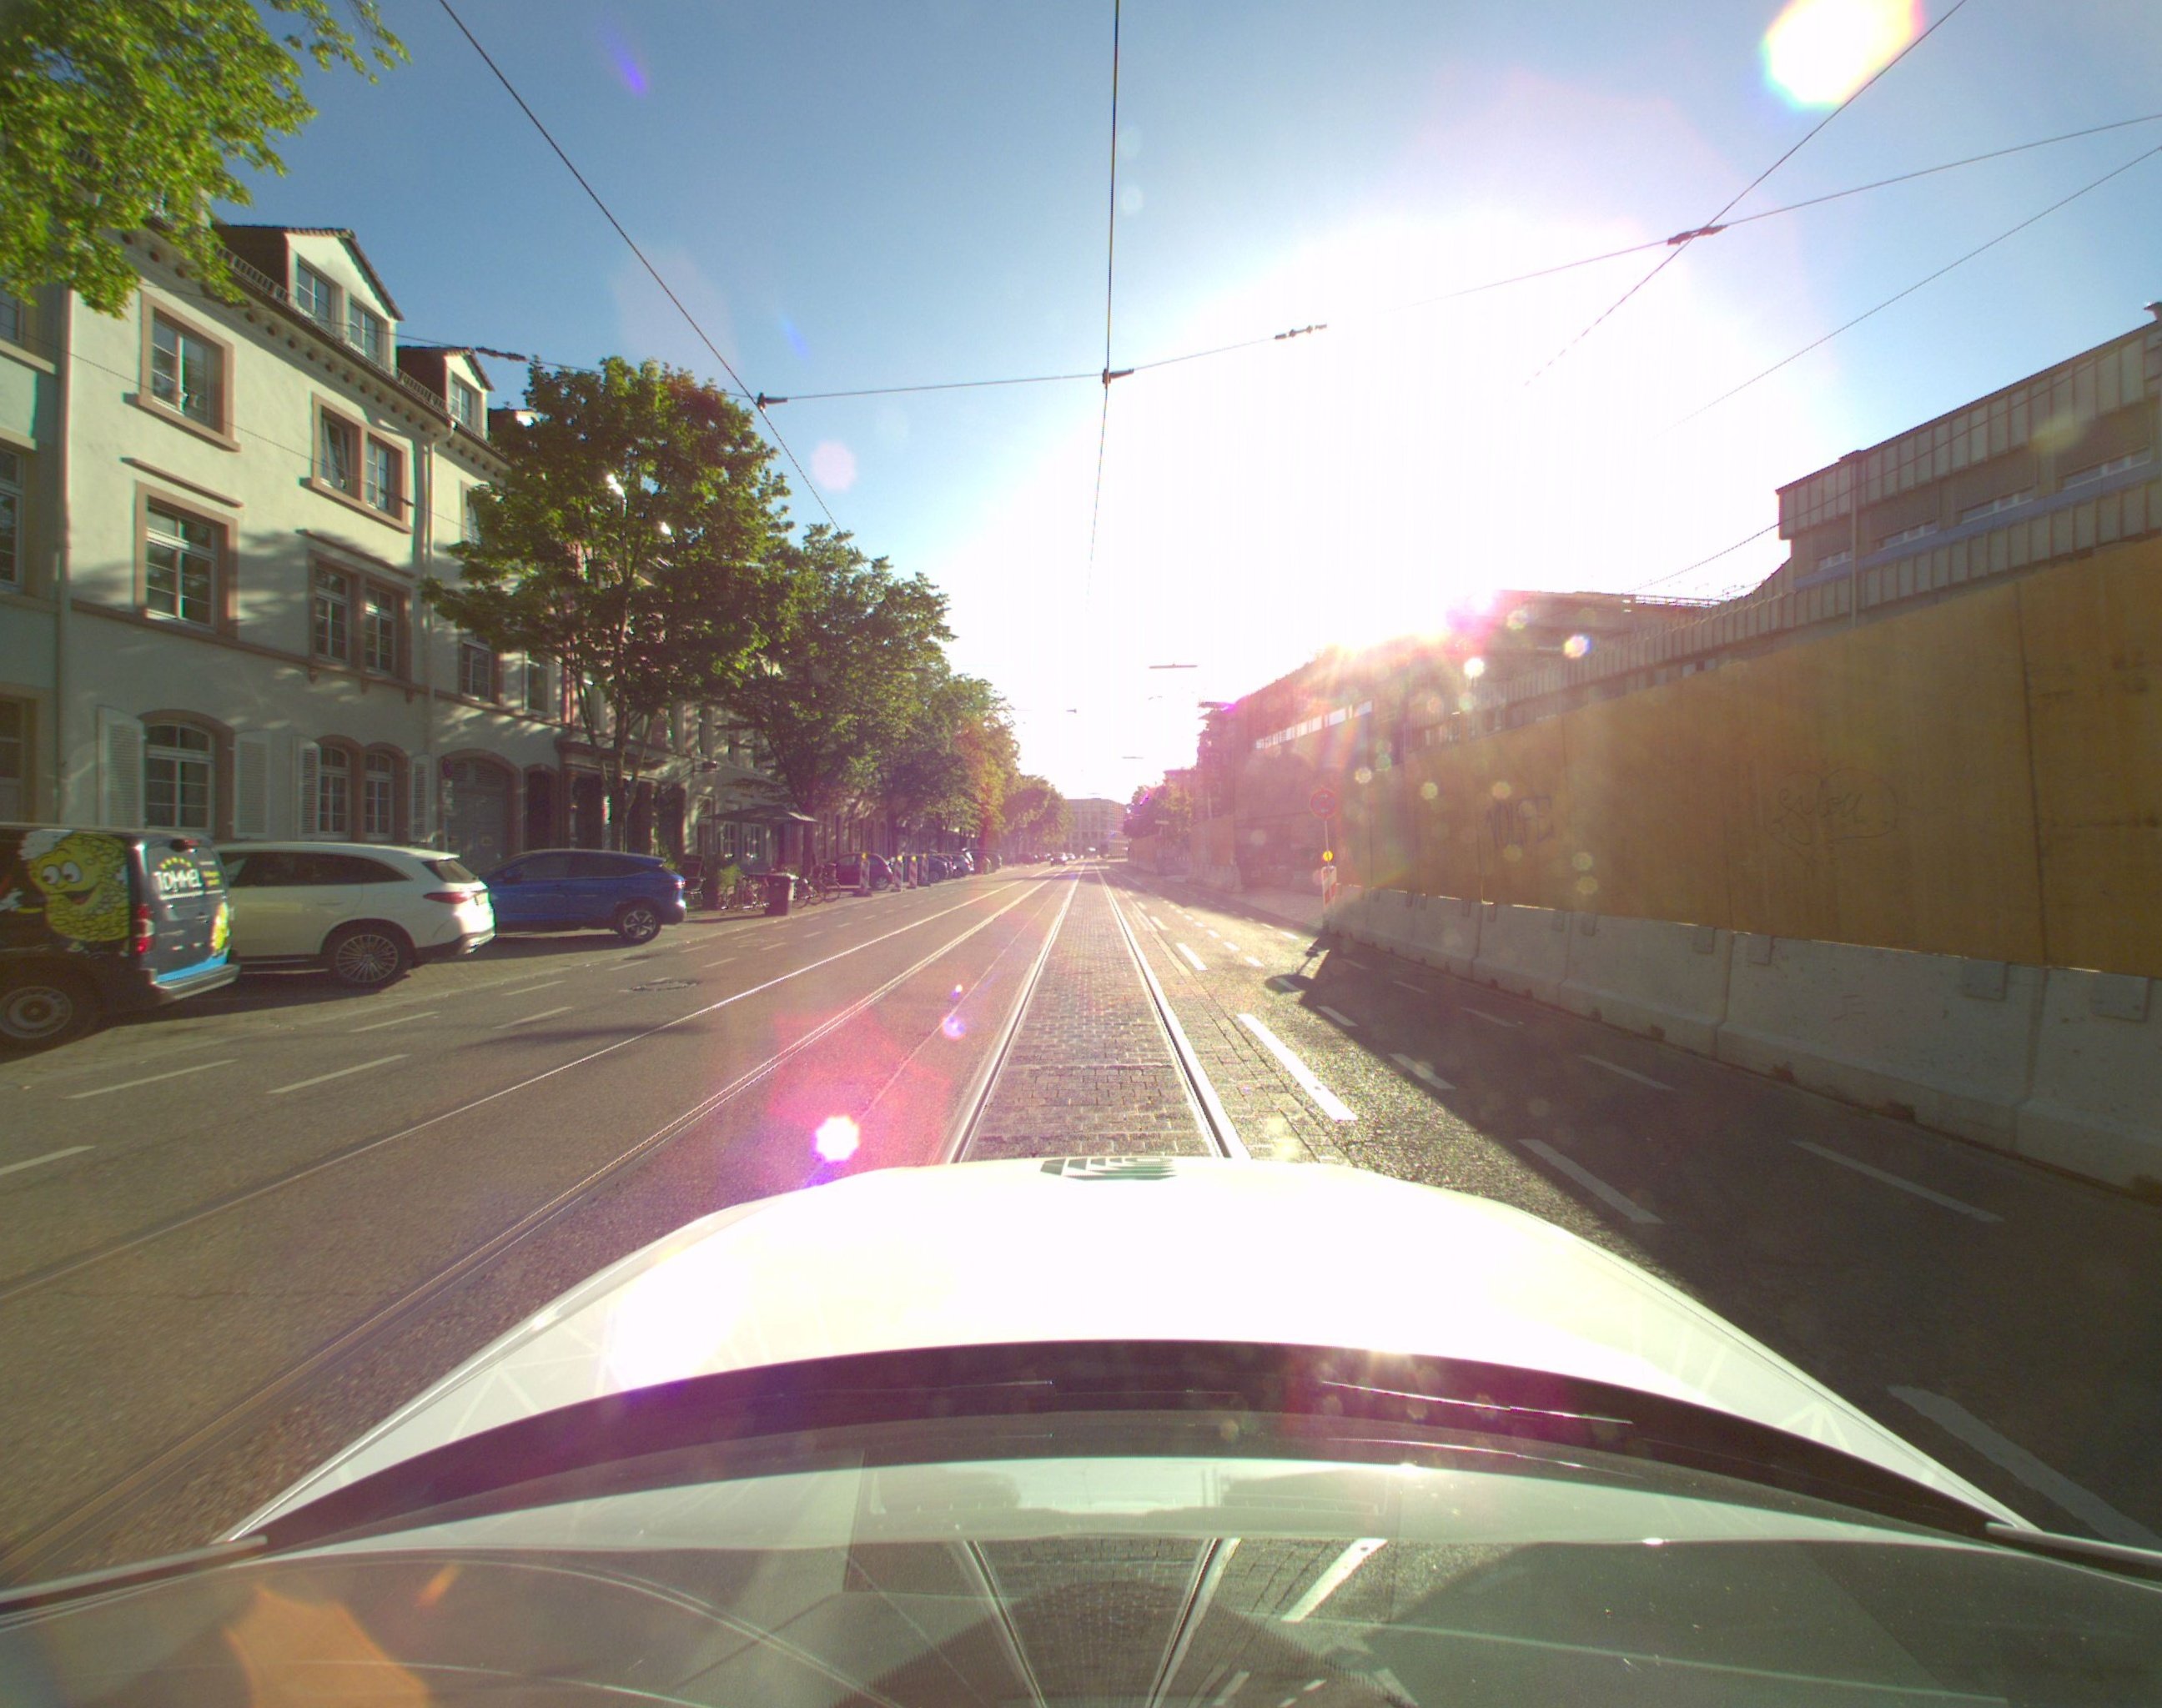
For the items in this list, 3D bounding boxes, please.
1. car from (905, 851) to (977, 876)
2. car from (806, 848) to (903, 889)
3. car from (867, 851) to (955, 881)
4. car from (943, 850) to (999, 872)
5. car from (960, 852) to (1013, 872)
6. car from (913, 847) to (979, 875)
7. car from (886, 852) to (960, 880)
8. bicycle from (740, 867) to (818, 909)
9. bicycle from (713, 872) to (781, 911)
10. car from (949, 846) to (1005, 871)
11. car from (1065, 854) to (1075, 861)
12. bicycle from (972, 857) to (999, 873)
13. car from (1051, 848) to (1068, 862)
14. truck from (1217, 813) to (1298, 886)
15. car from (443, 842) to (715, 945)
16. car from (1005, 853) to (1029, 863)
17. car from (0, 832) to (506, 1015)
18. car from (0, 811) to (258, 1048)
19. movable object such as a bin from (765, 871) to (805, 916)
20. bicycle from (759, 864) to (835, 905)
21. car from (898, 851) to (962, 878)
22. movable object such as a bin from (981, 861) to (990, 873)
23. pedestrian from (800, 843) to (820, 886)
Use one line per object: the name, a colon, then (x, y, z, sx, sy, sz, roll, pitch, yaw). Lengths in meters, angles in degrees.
car: (-8.875, 0.603, 51.595, 4.125, 1.512, 1.825, 1, 0, -26)
car: (-9.339, 0.609, 33.575, 3.631, 1.553, 1.655, 1, 1, -26)
car: (-9.014, 0.635, 43.245, 4.211, 1.491, 1.927, 1, 0, -27)
car: (-8.916, 0.541, 66.033, 4.250, 1.685, 1.798, -1, 0, -21)
car: (-7.397, 0.642, 63.680, 3.866, 1.476, 1.833, -1, 0, -18)
car: (-9.078, 0.467, 55.057, 4.093, 1.678, 1.840, 2, 0, -2)
car: (-8.896, 0.659, 45.842, 3.693, 1.470, 1.737, 2, -1, -29)
bicycle: (-8.587, 0.953, 23.194, 1.960, 1.079, 0.569, 2, 0, 2)
bicycle: (-8.812, 0.980, 21.516, 1.599, 0.988, 0.387, 1, 0, -10)
car: (-8.751, 0.386, 68.608, 4.370, 1.986, 1.935, 2, 0, -21)
car: (-2.224, 0.718, 161.437, 1.702, 1.436, 4.173, 0, 0, 2)
bicycle: (-7.284, 0.830, 61.863, 1.970, 1.144, 0.490, 2, -1, -18)
car: (-2.609, 0.100, 99.323, 1.922, 1.629, 4.248, -3, 1, 0)
truck: (7.896, -0.200, 37.091, 2.510, 2.909, 5.510, -3, 0, 2)
car: (-8.834, 0.675, 14.548, 3.919, 1.609, 1.556, 2, -2, -36)
car: (-8.717, 0.584, 111.057, 2.950, 1.332, 1.205, -1, 0, -27)
car: (-9.963, 0.675, 9.624, 4.954, 1.794, 2.188, 0, 0, -30)
car: (-9.523, 0.558, 6.688, 3.456, 1.843, 1.716, 3, -2, -31)
movable object such as a bin: (-7.557, 0.995, 20.811, 0.681, 1.078, 0.710, 3, 0, 2)
bicycle: (-8.540, 0.912, 24.524, 1.995, 1.087, 0.568, 4, 0, 2)
car: (-9.031, 0.637, 48.694, 3.381, 1.493, 1.599, 2, 0, -28)
movable object such as a bin: (-7.165, 0.982, 61.034, 0.576, 0.913, 0.572, 2, 1, -16)
pedestrian: (-12.753, 0.493, 38.271, 0.728, 2.013, 0.557, -1, 0, 1)
